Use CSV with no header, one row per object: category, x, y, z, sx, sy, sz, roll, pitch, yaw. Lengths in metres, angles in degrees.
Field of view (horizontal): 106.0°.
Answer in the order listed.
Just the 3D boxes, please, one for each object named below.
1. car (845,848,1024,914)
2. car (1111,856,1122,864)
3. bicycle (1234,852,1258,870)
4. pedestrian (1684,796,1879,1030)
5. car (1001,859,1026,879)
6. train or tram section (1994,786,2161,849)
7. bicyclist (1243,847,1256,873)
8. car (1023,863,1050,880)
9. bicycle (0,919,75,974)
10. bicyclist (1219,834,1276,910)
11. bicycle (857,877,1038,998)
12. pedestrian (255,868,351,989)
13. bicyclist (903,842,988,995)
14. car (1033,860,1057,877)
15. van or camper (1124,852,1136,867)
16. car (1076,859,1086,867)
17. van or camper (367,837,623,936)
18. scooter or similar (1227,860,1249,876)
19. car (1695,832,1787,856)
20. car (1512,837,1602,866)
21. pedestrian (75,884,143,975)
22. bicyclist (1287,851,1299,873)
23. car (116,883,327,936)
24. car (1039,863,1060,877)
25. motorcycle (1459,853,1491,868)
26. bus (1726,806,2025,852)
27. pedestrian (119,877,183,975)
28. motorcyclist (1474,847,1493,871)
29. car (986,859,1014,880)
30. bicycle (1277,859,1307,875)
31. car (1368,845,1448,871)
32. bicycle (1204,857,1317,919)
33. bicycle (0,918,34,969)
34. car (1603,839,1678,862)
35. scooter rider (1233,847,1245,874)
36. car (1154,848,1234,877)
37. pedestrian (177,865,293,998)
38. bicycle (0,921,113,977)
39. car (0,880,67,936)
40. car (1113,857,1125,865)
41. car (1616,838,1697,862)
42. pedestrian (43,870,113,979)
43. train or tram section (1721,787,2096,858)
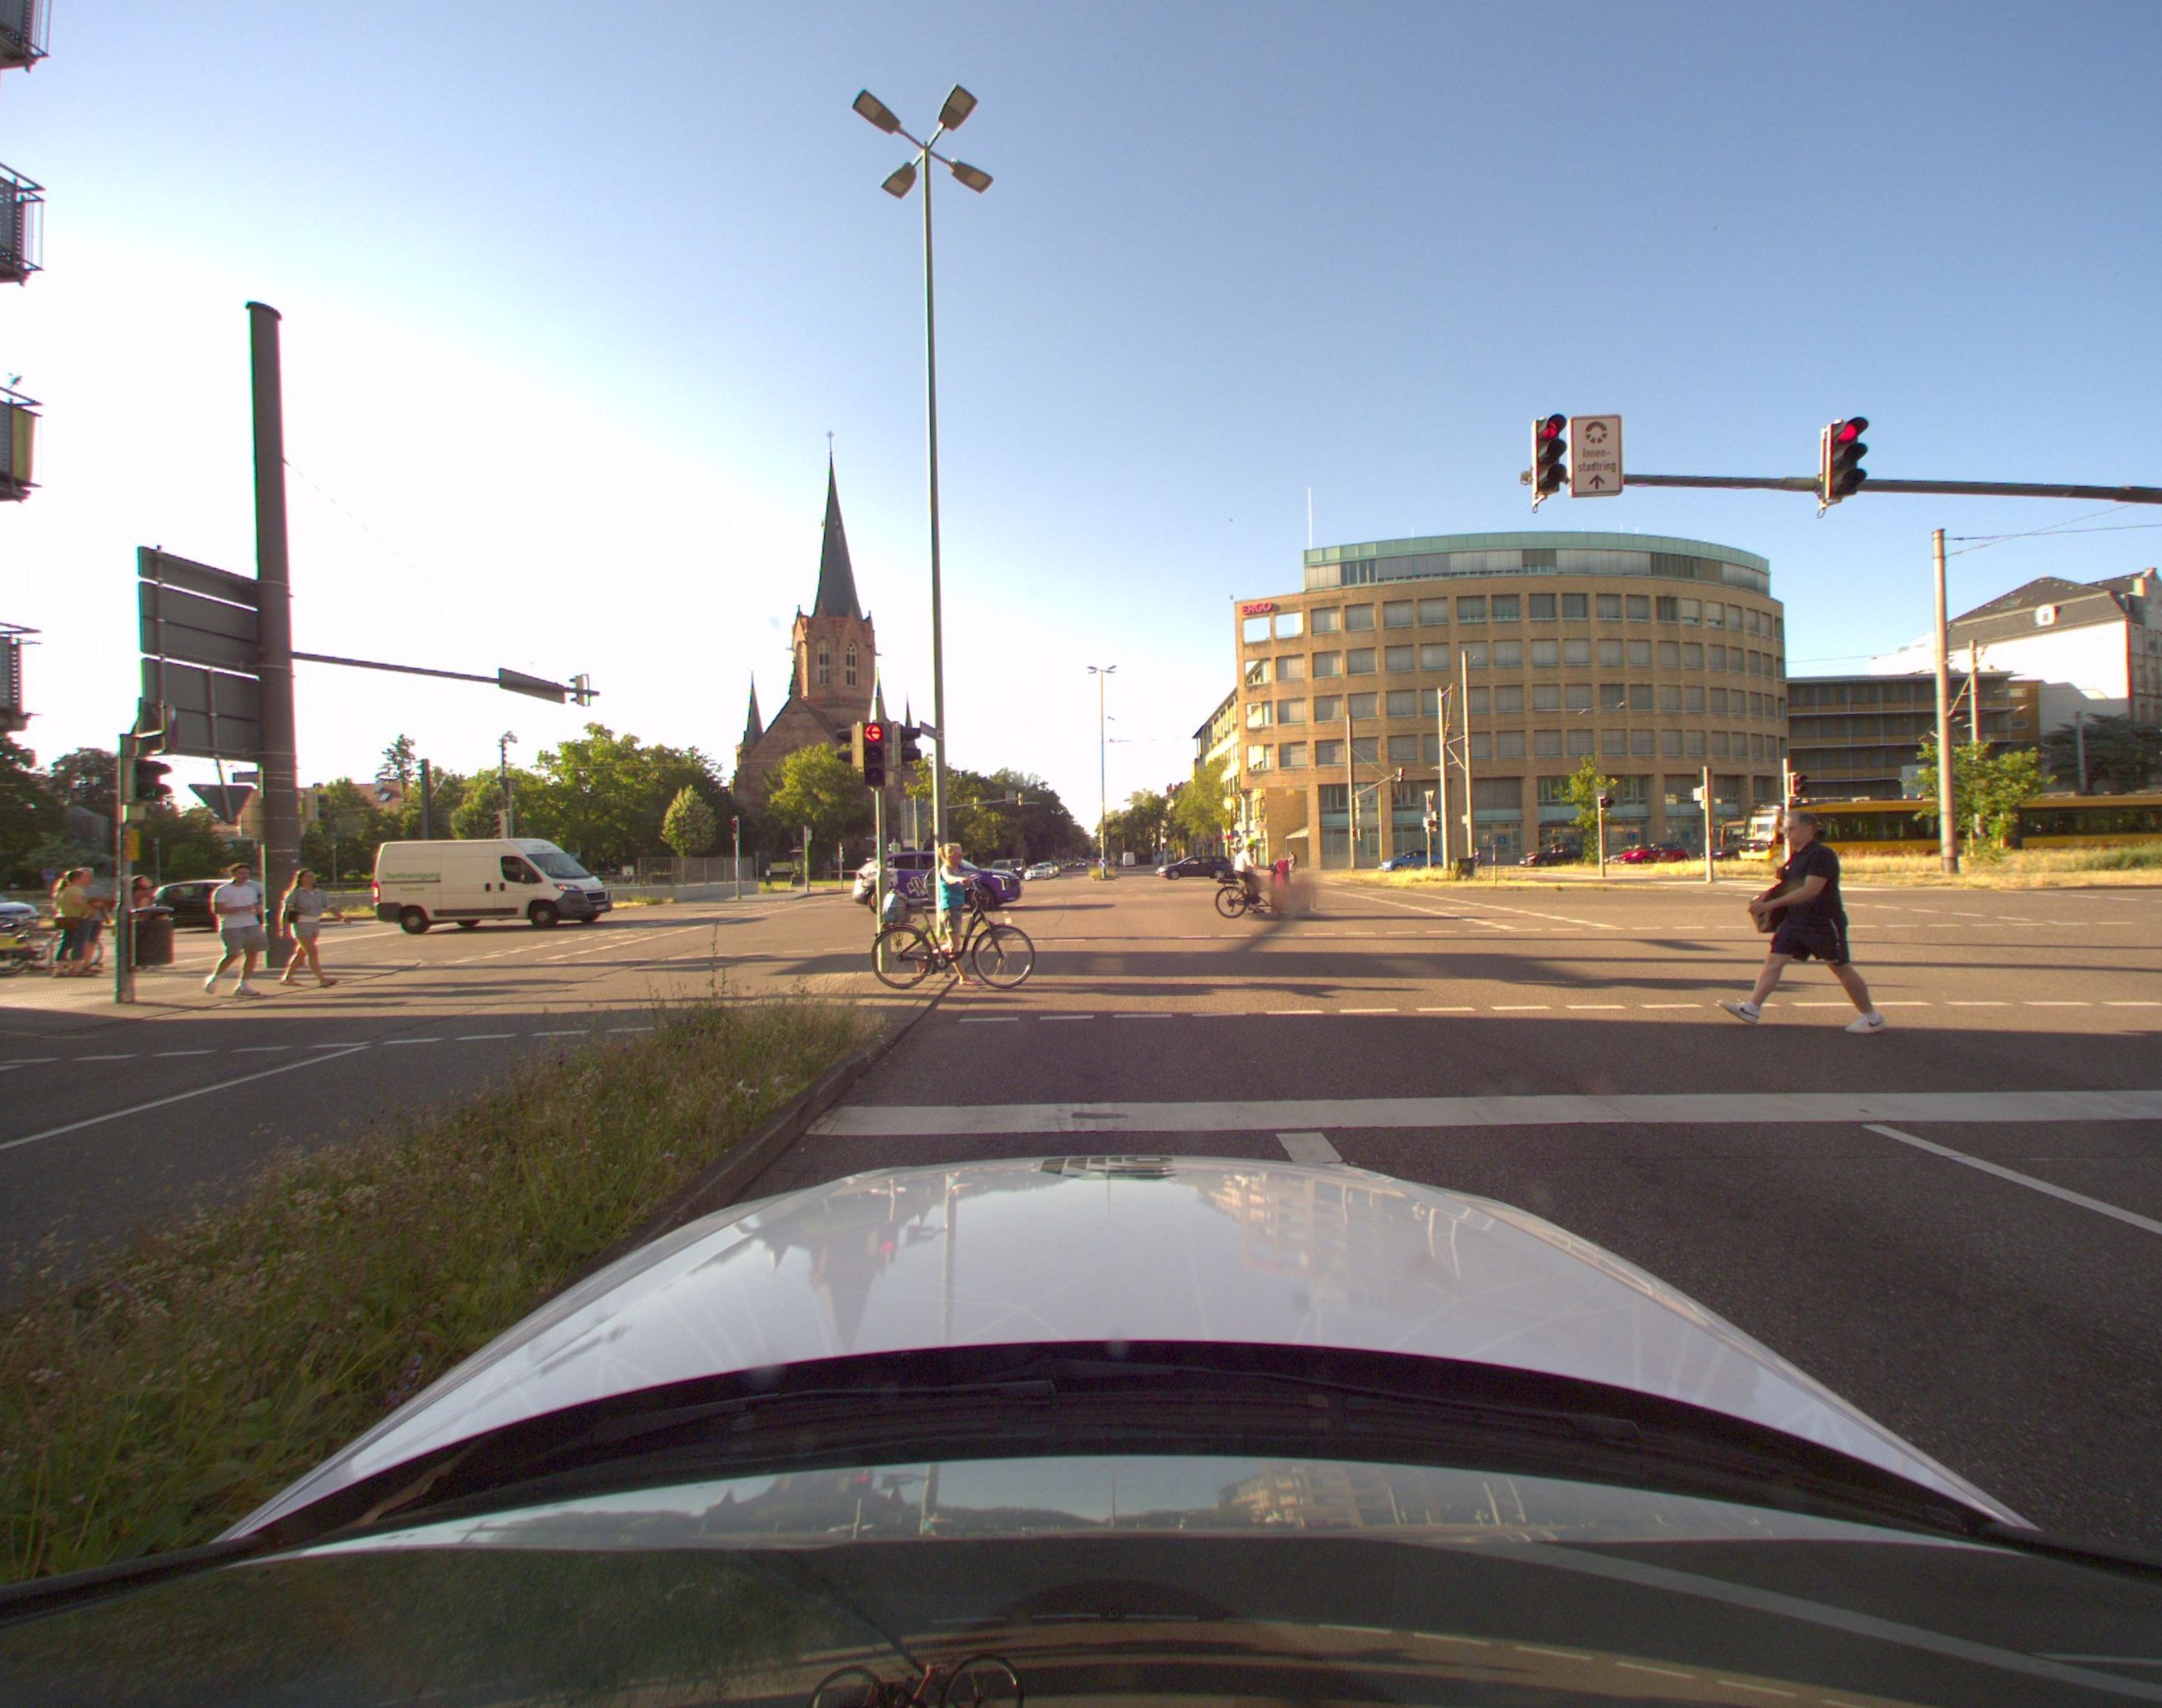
car,-3.851,0.702,21.953,4.386,1.573,1.837,-2,0,2
car,7.710,1.341,177.240,1.989,1.592,3.996,-2,0,-2
bicycle,10.972,0.458,54.136,1.511,1.172,0.476,-2,0,7
pedestrian,5.607,0.458,6.570,0.940,1.768,0.670,-2,0,5
car,-6.182,1.344,74.661,1.773,1.704,4.001,-2,0,1
train or tram section,62.344,-2.180,46.516,19.896,3.177,3.687,-2,0,-10
bicyclist,11.186,0.395,54.029,0.786,1.736,0.476,-2,0,7
car,-3.614,1.408,66.697,1.773,1.236,4.001,-2,0,1
bicycle,-19.713,1.711,14.888,0.494,0.907,1.703,-2,0,0
bicyclist,3.394,0.354,16.706,0.877,1.487,1.161,-2,0,-1
bicycle,-1.428,0.890,8.956,1.822,1.188,0.734,-2,0,-1
pedestrian,-11.476,1.076,12.034,0.749,1.709,0.676,-2,0,9
bicyclist,-1.538,0.706,9.390,0.780,1.660,0.900,-2,0,-1
car,-3.219,1.289,73.270,1.773,1.464,4.001,-2,0,1
van or camper,8.797,0.948,146.326,1.986,2.640,5.353,-2,0,2
car,-0.019,1.679,154.030,1.773,1.449,4.001,-2,0,1
van or camper,-15.938,0.856,22.380,5.401,2.416,2.166,-2,0,1
scooter or similar,10.620,0.932,54.994,1.393,1.001,0.476,-2,0,7
car,39.989,-0.599,49.426,3.976,1.346,1.999,-2,0,-2
car,28.532,-0.141,48.939,4.212,1.614,2.001,-2,0,2
pedestrian,-17.146,1.320,14.377,0.466,1.530,0.576,-2,0,0
bicyclist,14.183,0.541,54.586,0.663,1.469,0.534,-2,0,5
car,-26.975,1.714,25.686,4.470,1.409,1.960,-2,0,-1
car,-3.125,1.527,80.533,1.773,1.236,4.001,-2,0,1
motorcycle,26.380,0.450,54.537,1.811,0.953,0.524,-2,0,0
bus,51.438,-1.602,52.839,18.131,2.436,2.419,-2,0,-4
pedestrian,-16.162,1.241,14.152,0.464,1.642,0.579,-2,0,21
motorcyclist,26.845,0.316,54.331,0.844,1.585,0.802,-2,0,2
car,-6.631,1.252,67.264,1.773,1.647,4.001,-2,0,1
bicycle,14.135,0.865,54.590,1.812,0.984,0.534,-2,0,4
car,20.677,0.242,51.640,4.218,1.502,1.998,-2,0,-3
bicycle,3.644,0.674,16.711,2.037,1.168,1.161,-2,0,-1
bicycle,-20.338,1.695,14.754,0.494,0.907,1.703,-2,0,0
car,35.570,-0.211,51.867,3.596,1.342,1.722,-2,0,0
scooter rider,10.658,0.454,54.992,0.676,1.814,0.476,-2,0,7
car,7.008,0.503,50.657,4.635,1.598,1.999,-2,0,-2
pedestrian,-11.697,1.056,11.282,0.917,1.758,0.676,-2,0,9
bicycle,-18.931,1.718,14.860,0.494,0.840,1.703,-2,0,0
car,-35.167,1.735,25.377,4.439,1.672,2.121,-2,0,0
car,7.915,1.370,171.568,1.990,1.592,3.994,-2,0,-4
car,34.653,-0.224,49.104,3.595,1.342,1.722,-2,0,1
pedestrian,-16.805,1.160,13.652,0.550,1.769,0.470,-2,0,2
train or tram section,44.727,-1.662,44.378,17.055,3.177,3.698,-2,0,-2
